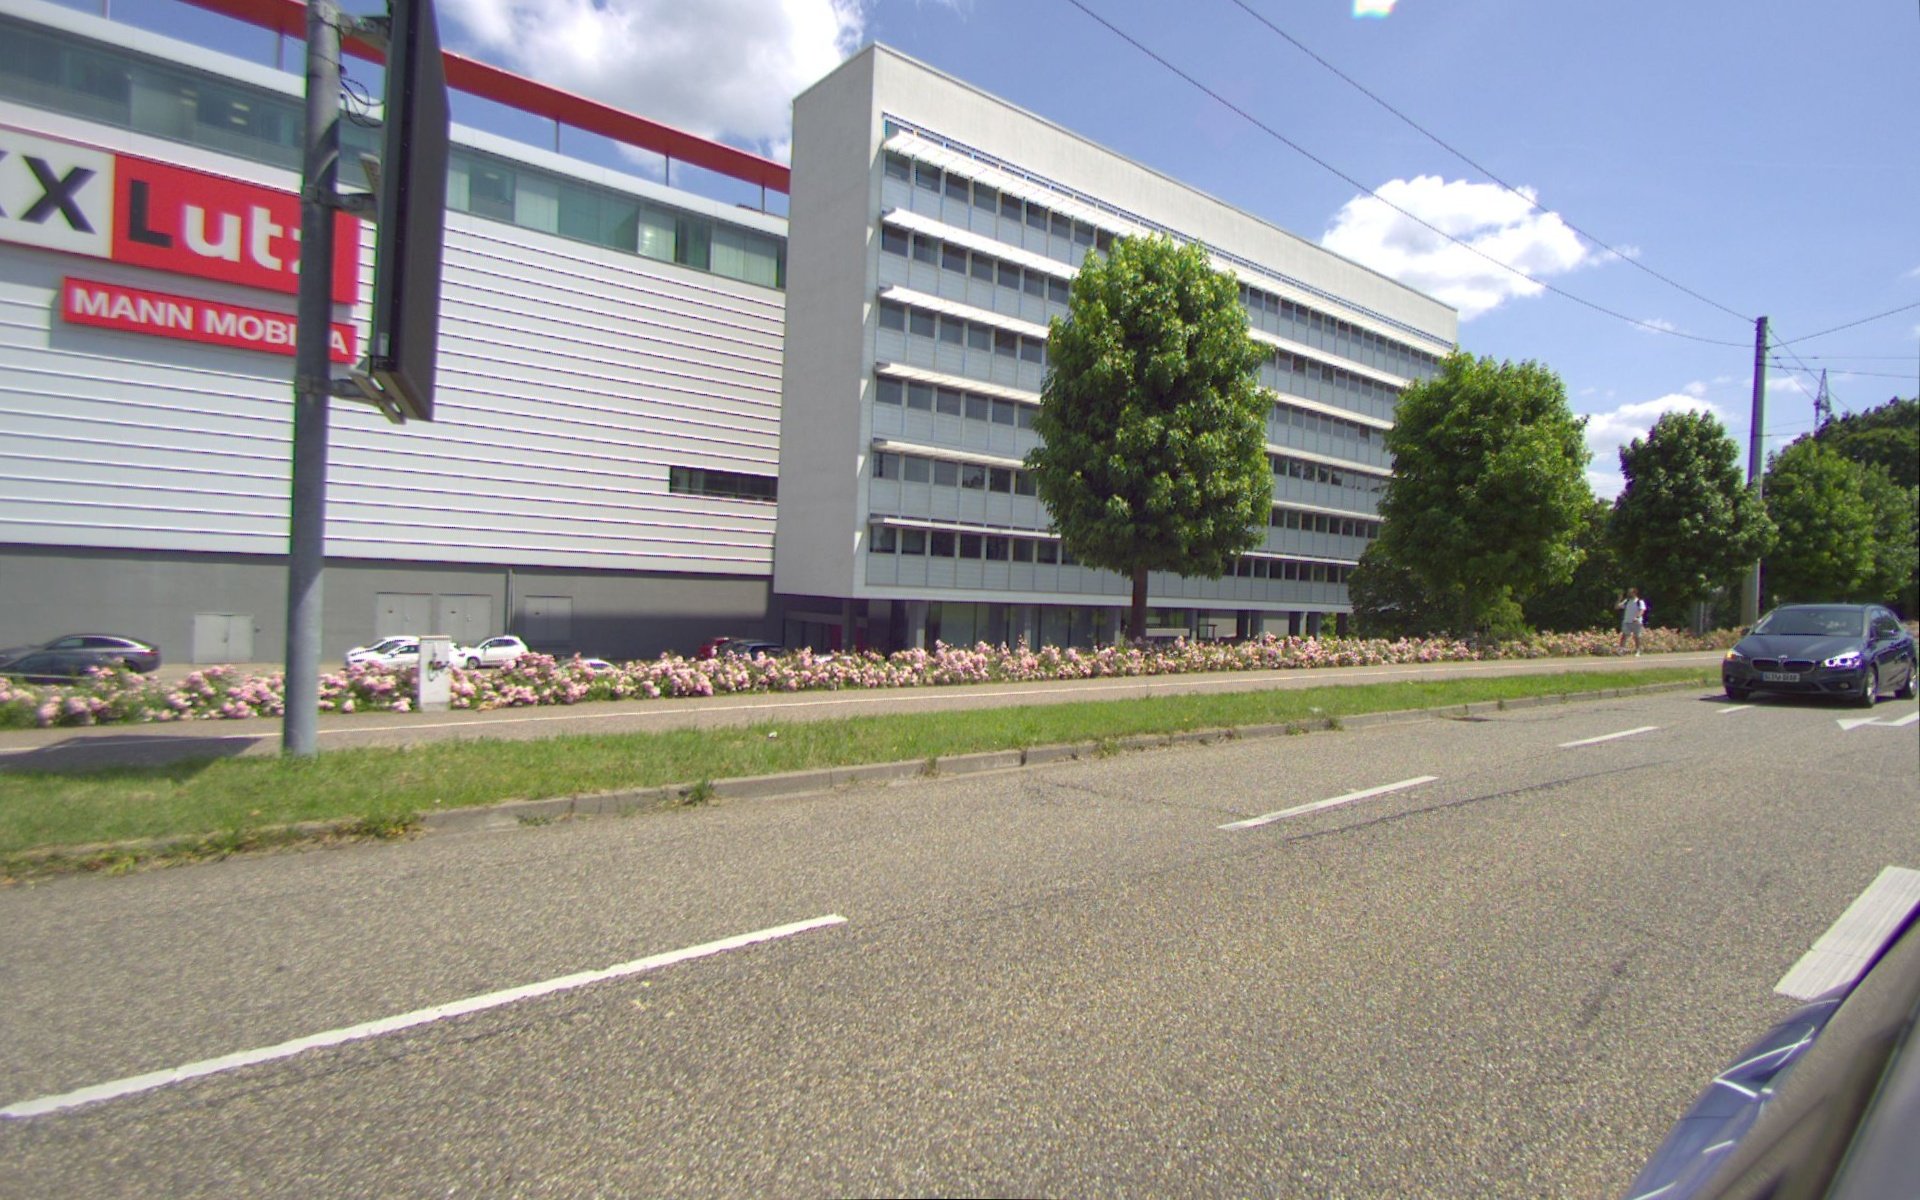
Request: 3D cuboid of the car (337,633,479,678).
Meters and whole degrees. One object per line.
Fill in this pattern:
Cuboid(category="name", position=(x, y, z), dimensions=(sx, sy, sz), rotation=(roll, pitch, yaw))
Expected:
Cuboid(category="car", position=(-23.739, 2.339, 43.627), dimensions=(5.056, 1.632, 1.997), rotation=(0, 0, -41))

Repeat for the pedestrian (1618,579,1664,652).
Cuboid(category="pedestrian", position=(17.939, 0.393, 26.664), dimensions=(0.913, 1.872, 0.758), rotation=(1, 0, -38))

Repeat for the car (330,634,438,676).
Cuboid(category="car", position=(-25.895, 2.422, 45.535), dimensions=(3.930, 1.632, 1.997), rotation=(0, 0, -41))

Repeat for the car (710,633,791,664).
Cuboid(category="car", position=(-11.086, 2.546, 53.654), dimensions=(3.930, 1.403, 1.646), rotation=(0, 0, -41))

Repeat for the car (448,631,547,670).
Cuboid(category="car", position=(-22.123, 2.368, 48.423), dimensions=(3.930, 1.632, 1.997), rotation=(0, 0, -41))

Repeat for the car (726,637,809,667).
Cuboid(category="car", position=(-9.894, 2.652, 52.221), dimensions=(3.930, 1.338, 1.607), rotation=(0, 0, -41))

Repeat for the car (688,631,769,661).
Cuboid(category="car", position=(-12.854, 2.512, 56.329), dimensions=(3.930, 1.465, 1.997), rotation=(0, 0, -41))

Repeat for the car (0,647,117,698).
Cuboid(category="car", position=(-29.953, 2.318, 32.564), dimensions=(4.278, 1.416, 1.996), rotation=(0, 0, -42))

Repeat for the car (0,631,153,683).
Cuboid(category="car", position=(-32.234, 2.025, 36.759), dimensions=(4.509, 1.632, 1.997), rotation=(0, 0, -41))

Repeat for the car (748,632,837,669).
Cuboid(category="car", position=(-8.345, 2.481, 50.604), dimensions=(3.930, 1.632, 1.997), rotation=(0, 0, -41))

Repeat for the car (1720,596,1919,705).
Cuboid(category="car", position=(13.990, 0.728, 16.225), dimensions=(4.022, 1.546, 1.766), rotation=(1, 0, -36))
